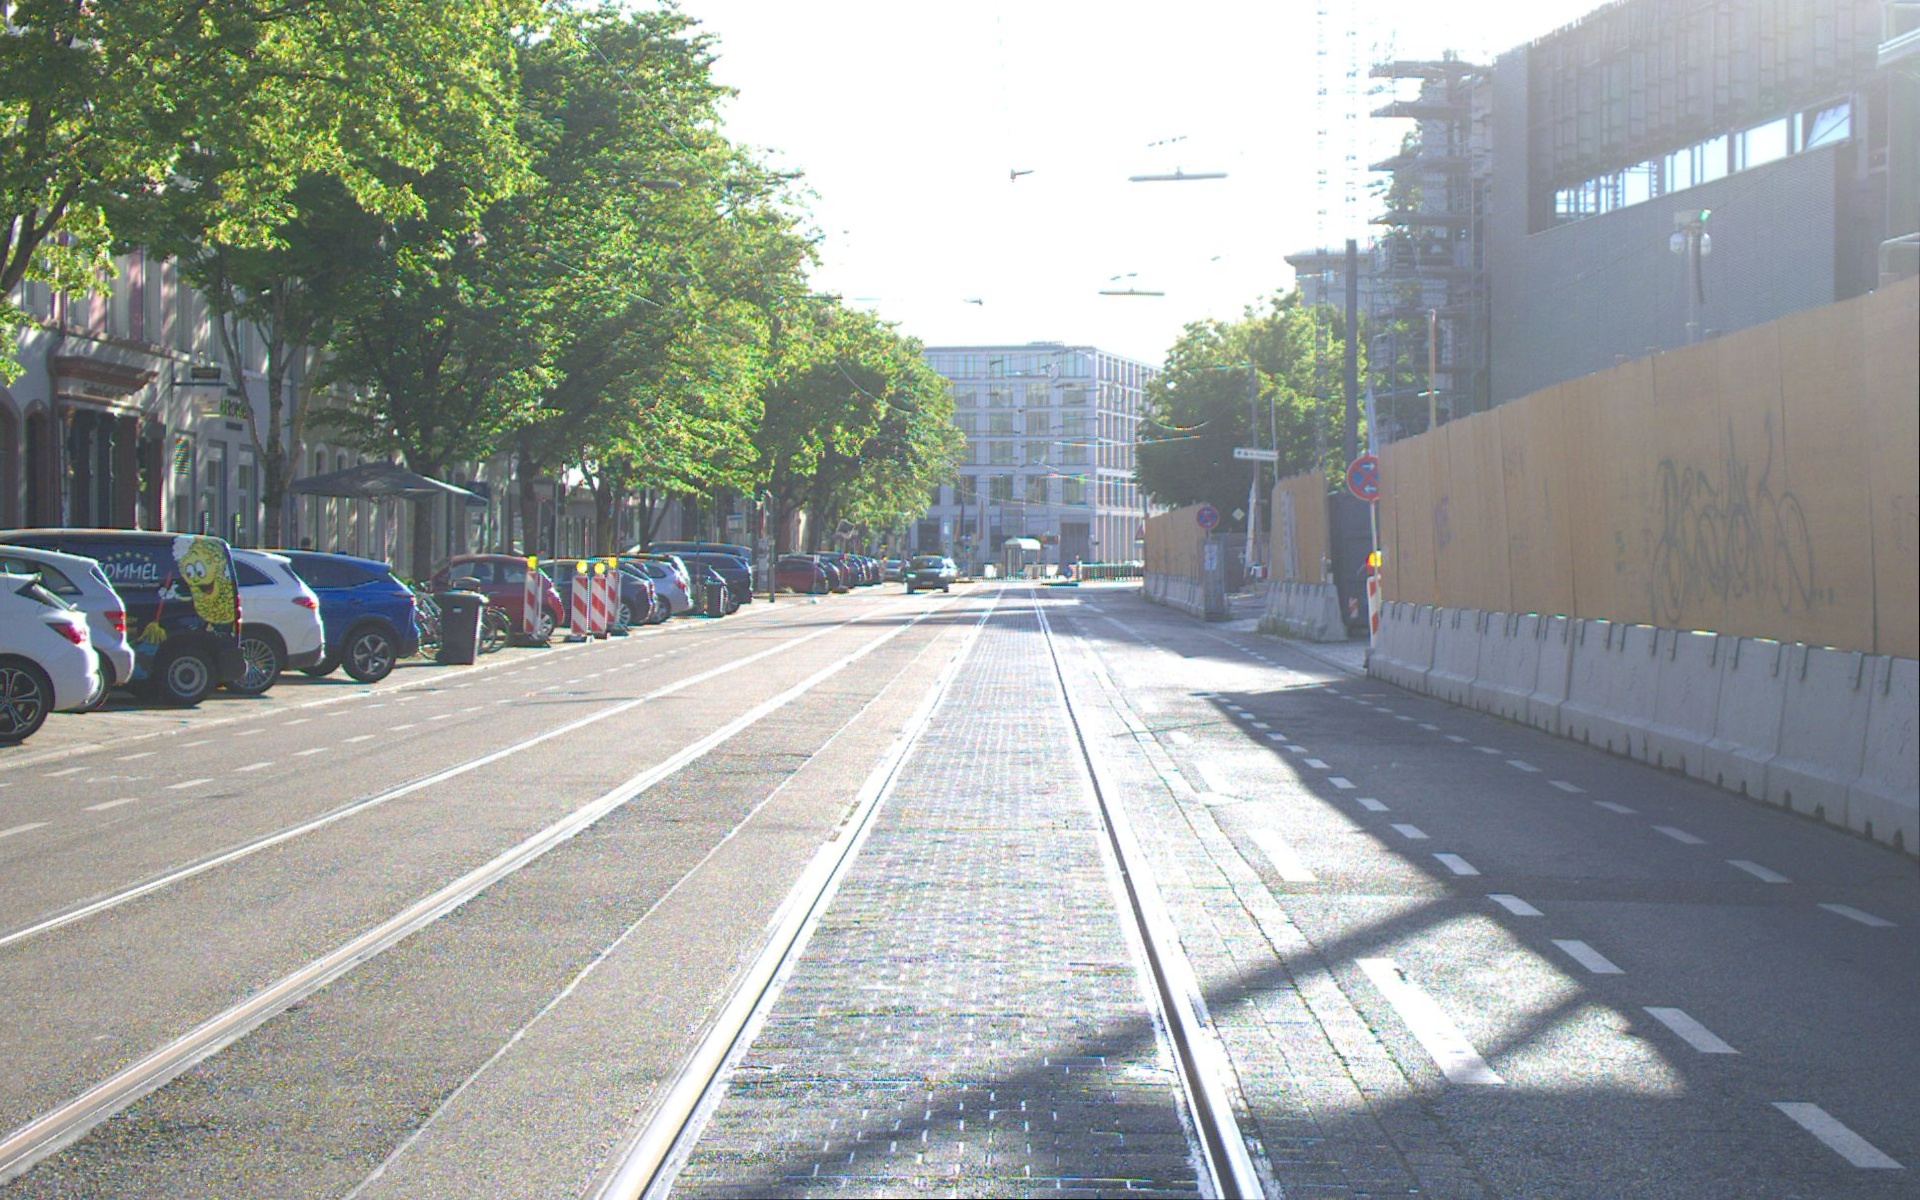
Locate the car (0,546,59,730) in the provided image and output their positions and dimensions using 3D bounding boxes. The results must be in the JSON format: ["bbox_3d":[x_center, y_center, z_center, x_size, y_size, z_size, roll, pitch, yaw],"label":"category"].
[{"bbox_3d":[-9.576,0.256,29.057,3.634,1.524,1.887,2,0,-18],"label":"car"}]

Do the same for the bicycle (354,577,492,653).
[{"bbox_3d":[-8.208,0.222,52.569,1.968,1.075,0.568,2,1,4],"label":"bicycle"}]

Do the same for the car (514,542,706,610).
[{"bbox_3d":[-8.243,-0.562,80.970,4.103,1.507,1.841,1,1,-25],"label":"car"}]

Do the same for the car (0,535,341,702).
[{"bbox_3d":[-9.710,0.168,38.660,4.925,1.788,2.208,-1,1,-36],"label":"car"}]

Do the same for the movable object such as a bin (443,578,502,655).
[{"bbox_3d":[-7.129,0.244,50.275,0.684,1.074,0.710,3,1,3],"label":"movable object such as a bin"}]

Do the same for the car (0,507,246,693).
[{"bbox_3d":[-9.413,0.027,35.855,3.434,1.837,1.733,2,-3,-33],"label":"car"}]

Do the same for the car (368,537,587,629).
[{"bbox_3d":[-8.833,-0.312,62.961,3.612,1.548,1.669,1,2,-25],"label":"car"}]

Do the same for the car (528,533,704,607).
[{"bbox_3d":[-8.422,-0.744,84.436,4.104,1.672,1.841,2,1,-1],"label":"car"}]

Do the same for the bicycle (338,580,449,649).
[{"bbox_3d":[-8.389,0.220,50.892,1.599,0.984,0.389,1,1,-9],"label":"bicycle"}]

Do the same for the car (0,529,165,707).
[{"bbox_3d":[-9.957,0.130,33.327,3.986,1.651,1.811,2,1,-29],"label":"car"}]

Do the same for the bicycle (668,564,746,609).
[{"bbox_3d":[-6.700,-0.363,90.925,1.965,1.140,0.493,1,0,-17],"label":"bicycle"}]

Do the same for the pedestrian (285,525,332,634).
[{"bbox_3d":[-12.120,-0.385,63.950,0.731,2.007,0.556,-1,1,3],"label":"pedestrian"}]

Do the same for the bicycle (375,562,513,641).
[{"bbox_3d":[-8.088,0.021,53.890,2.003,1.084,0.567,4,1,4],"label":"bicycle"}]

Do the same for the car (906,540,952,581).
[{"bbox_3d":[-1.367,-1.777,153.731,1.928,1.624,4.249,-3,2,0],"label":"car"}]

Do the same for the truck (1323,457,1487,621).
[{"bbox_3d":[8.479,-1.165,65.993,2.520,2.899,5.507,-3,1,3],"label":"truck"}]

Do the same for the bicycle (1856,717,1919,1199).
[{"bbox_3d":[2.637,0.911,7.948,0.667,1.150,2.276,1,1,4],"label":"bicycle"}]

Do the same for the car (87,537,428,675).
[{"bbox_3d":[-8.878,0.054,43.557,3.890,1.603,1.573,-2,1,-35],"label":"car"}]

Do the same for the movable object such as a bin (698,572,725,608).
[{"bbox_3d":[-6.526,-0.270,90.274,0.575,0.910,0.575,1,2,-15],"label":"movable object such as a bin"}]

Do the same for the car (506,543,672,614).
[{"bbox_3d":[-8.419,-0.490,78.074,3.362,1.488,1.613,1,1,-27],"label":"car"}]
